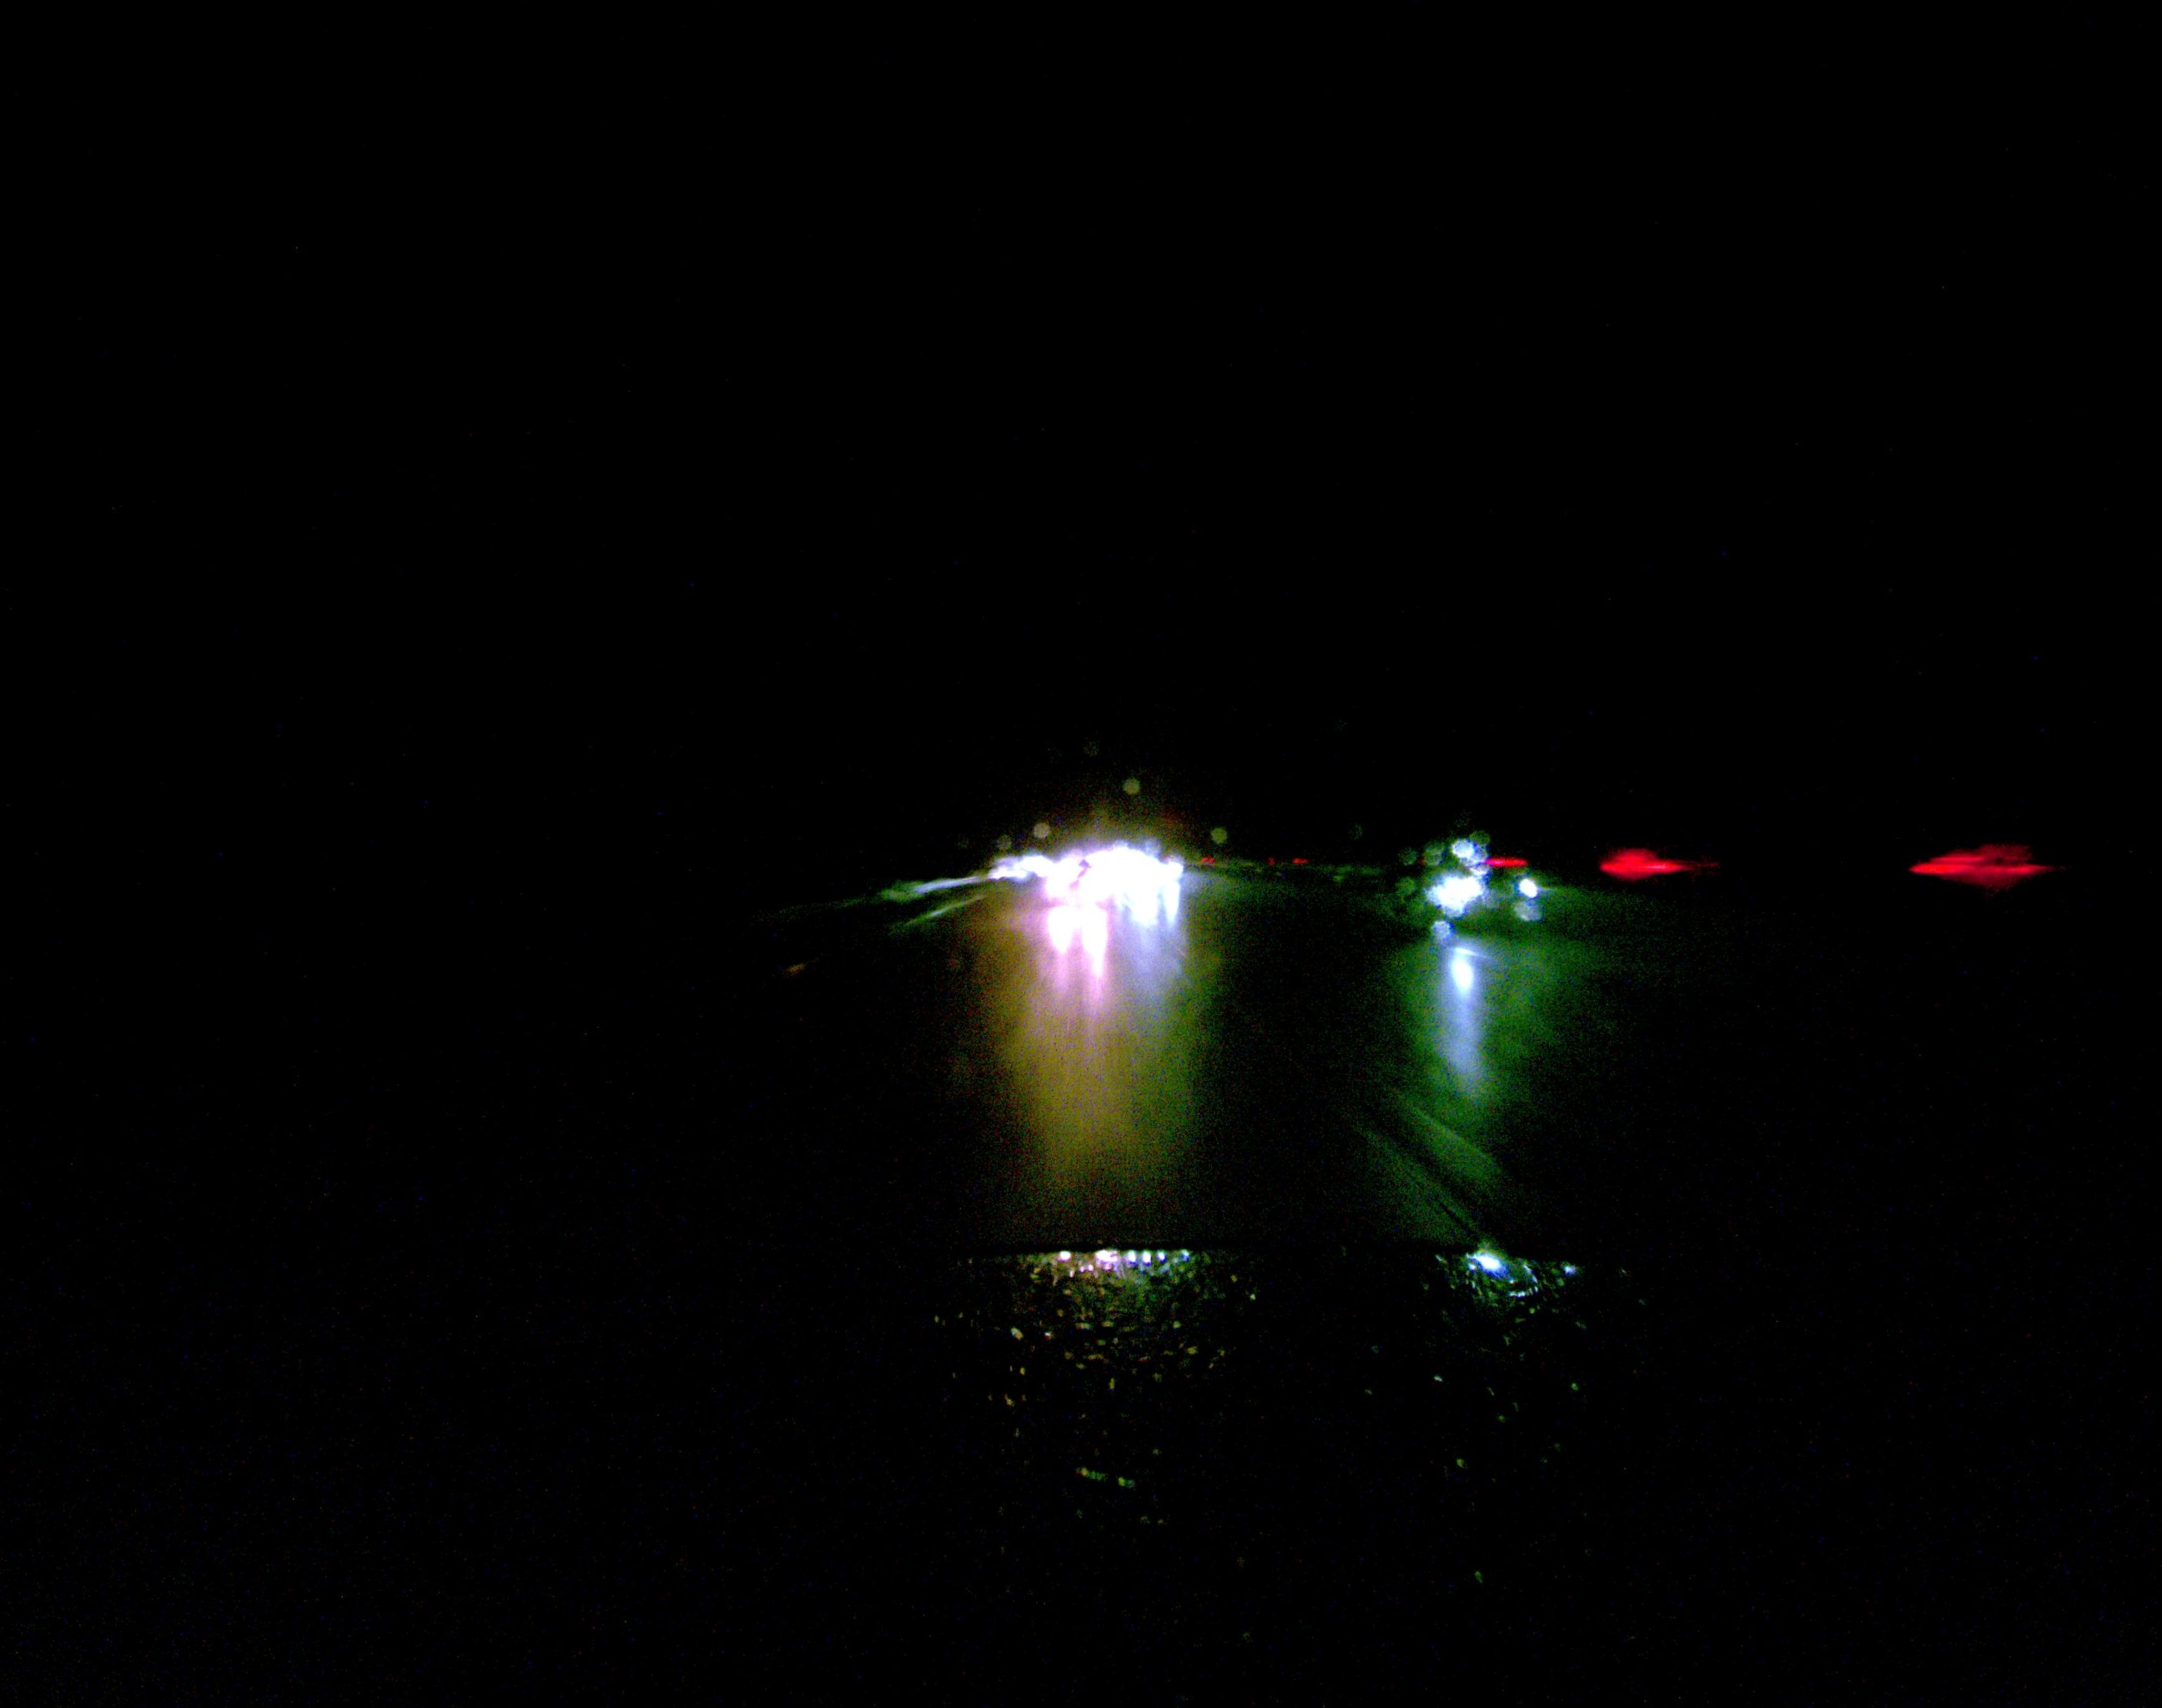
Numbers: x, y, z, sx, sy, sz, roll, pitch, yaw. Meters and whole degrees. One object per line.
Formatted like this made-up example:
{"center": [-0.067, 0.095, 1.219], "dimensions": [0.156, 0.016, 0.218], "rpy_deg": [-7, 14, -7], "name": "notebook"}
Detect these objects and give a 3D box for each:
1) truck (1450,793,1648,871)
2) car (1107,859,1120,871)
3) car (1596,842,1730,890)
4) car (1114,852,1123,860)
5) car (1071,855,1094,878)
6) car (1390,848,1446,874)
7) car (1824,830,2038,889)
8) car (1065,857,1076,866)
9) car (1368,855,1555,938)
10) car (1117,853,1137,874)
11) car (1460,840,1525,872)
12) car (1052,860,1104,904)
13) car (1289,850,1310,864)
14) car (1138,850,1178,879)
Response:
{"center": [32.321, -1.378, 54.349], "dimensions": [3.418, 4.532, 17.598], "rpy_deg": [-2, 0, 1], "name": "truck"}
{"center": [4.888, 1.622, 113.252], "dimensions": [1.755, 1.563, 4.000], "rpy_deg": [-2, 0, 1], "name": "car"}
{"center": [19.938, 0.373, 26.243], "dimensions": [1.682, 1.495, 3.815], "rpy_deg": [-2, 0, 0], "name": "car"}
{"center": [8.383, 0.407, 171.957], "dimensions": [1.800, 1.728, 4.000], "rpy_deg": [-2, 0, 1], "name": "car"}
{"center": [0.167, 1.008, 62.347], "dimensions": [1.792, 1.681, 4.000], "rpy_deg": [-2, 0, 1], "name": "car"}
{"center": [20.378, 0.411, 46.126], "dimensions": [1.618, 1.422, 3.957], "rpy_deg": [-2, 0, 0], "name": "car"}
{"center": [23.787, 0.137, 21.509], "dimensions": [1.646, 1.438, 3.932], "rpy_deg": [-2, 0, 0], "name": "car"}
{"center": [-1.958, 1.487, 142.578], "dimensions": [1.755, 1.563, 4.000], "rpy_deg": [-2, 0, 1], "name": "car"}
{"center": [7.515, 0.761, 15.518], "dimensions": [1.661, 1.422, 4.246], "rpy_deg": [-2, 0, 0], "name": "car"}
{"center": [4.245, 0.859, 70.294], "dimensions": [1.611, 1.775, 3.910], "rpy_deg": [-2, 0, 1], "name": "car"}
{"center": [24.306, 0.109, 45.016], "dimensions": [1.746, 1.714, 3.876], "rpy_deg": [-2, 0, 0], "name": "car"}
{"center": [-0.049, 0.971, 28.259], "dimensions": [1.774, 1.449, 4.195], "rpy_deg": [-2, 0, 1], "name": "car"}
{"center": [28.337, 0.372, 98.655], "dimensions": [1.635, 1.794, 3.911], "rpy_deg": [-2, 0, 2], "name": "car"}
{"center": [4.748, 0.653, 47.482], "dimensions": [1.960, 1.655, 4.916], "rpy_deg": [-2, 0, 1], "name": "car"}
